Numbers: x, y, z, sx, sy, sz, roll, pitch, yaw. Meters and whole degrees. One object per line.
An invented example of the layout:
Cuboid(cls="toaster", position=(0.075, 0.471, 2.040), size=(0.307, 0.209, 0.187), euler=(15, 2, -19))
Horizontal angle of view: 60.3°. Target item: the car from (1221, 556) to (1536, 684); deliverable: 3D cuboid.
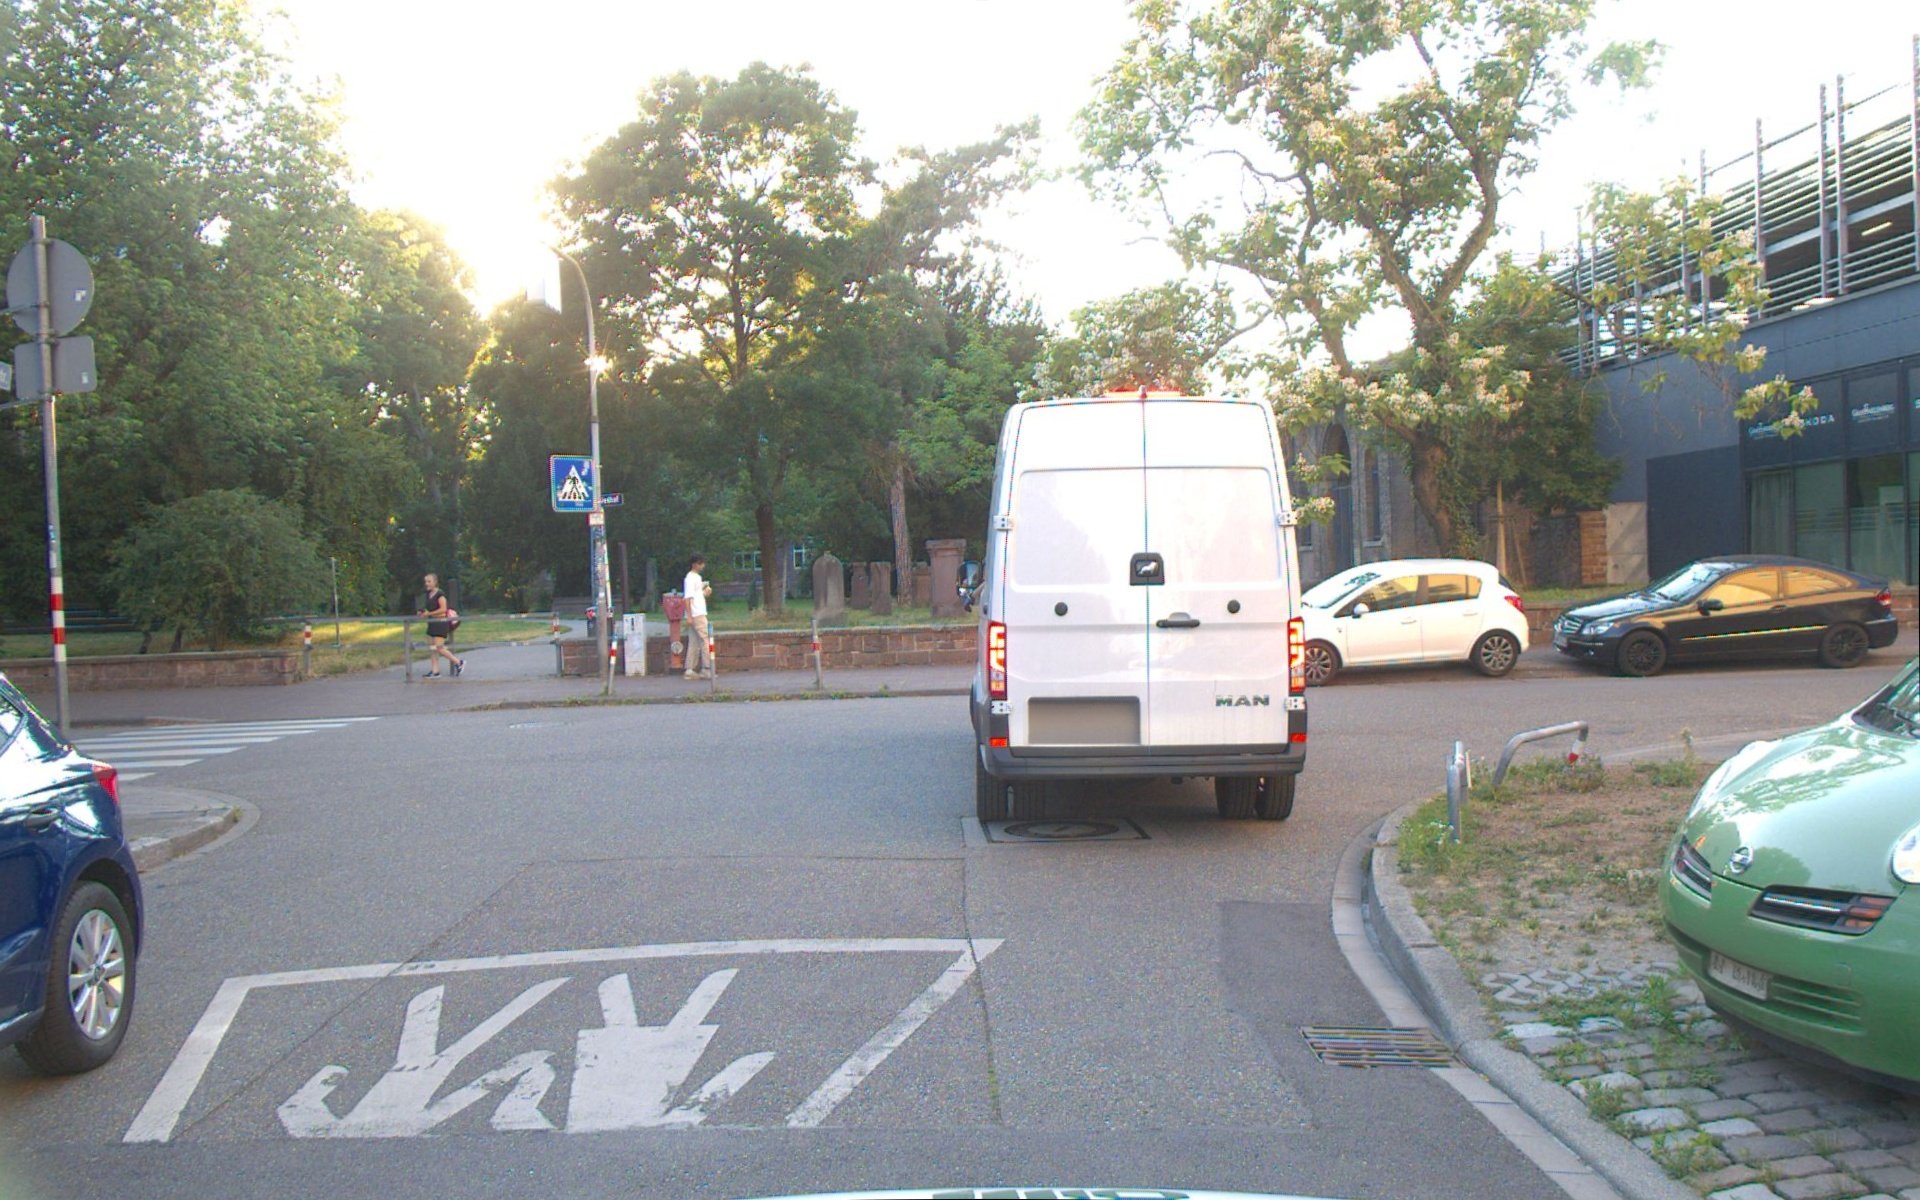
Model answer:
Cuboid(cls="car", position=(5.692, 0.246, 22.793), size=(3.779, 1.601, 1.957), euler=(-1, 1, -4))

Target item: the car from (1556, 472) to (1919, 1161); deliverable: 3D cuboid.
Cuboid(cls="car", position=(4.358, 0.424, 5.069), size=(4.318, 1.660, 1.844), euler=(-3, -1, -5))

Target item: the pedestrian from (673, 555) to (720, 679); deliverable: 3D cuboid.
Cuboid(cls="pedestrian", position=(-3.966, 0.245, 24.916), size=(0.581, 1.840, 0.620), euler=(-1, 0, -1))

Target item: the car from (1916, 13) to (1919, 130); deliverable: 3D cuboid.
Cuboid(cls="car", position=(18.034, -9.453, 27.620), size=(1.952, 2.049, 4.002), euler=(-1, 0, 3))

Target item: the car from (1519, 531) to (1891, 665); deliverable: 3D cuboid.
Cuboid(cls="car", position=(10.054, -0.039, 22.566), size=(4.204, 1.529, 1.824), euler=(-3, 0, 2))

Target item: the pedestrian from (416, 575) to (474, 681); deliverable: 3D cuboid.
Cuboid(cls="pedestrian", position=(-8.287, 0.440, 26.610), size=(0.637, 1.677, 0.670), euler=(0, 1, 41))

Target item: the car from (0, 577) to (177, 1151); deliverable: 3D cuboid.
Cuboid(cls="car", position=(-3.493, 0.787, 3.877), size=(1.700, 1.594, 3.787), euler=(-3, 1, -5))

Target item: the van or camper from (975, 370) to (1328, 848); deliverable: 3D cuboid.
Cuboid(cls="van or camper", position=(1.161, 0.038, 12.441), size=(1.952, 2.664, 6.404), euler=(0, 0, 2))
